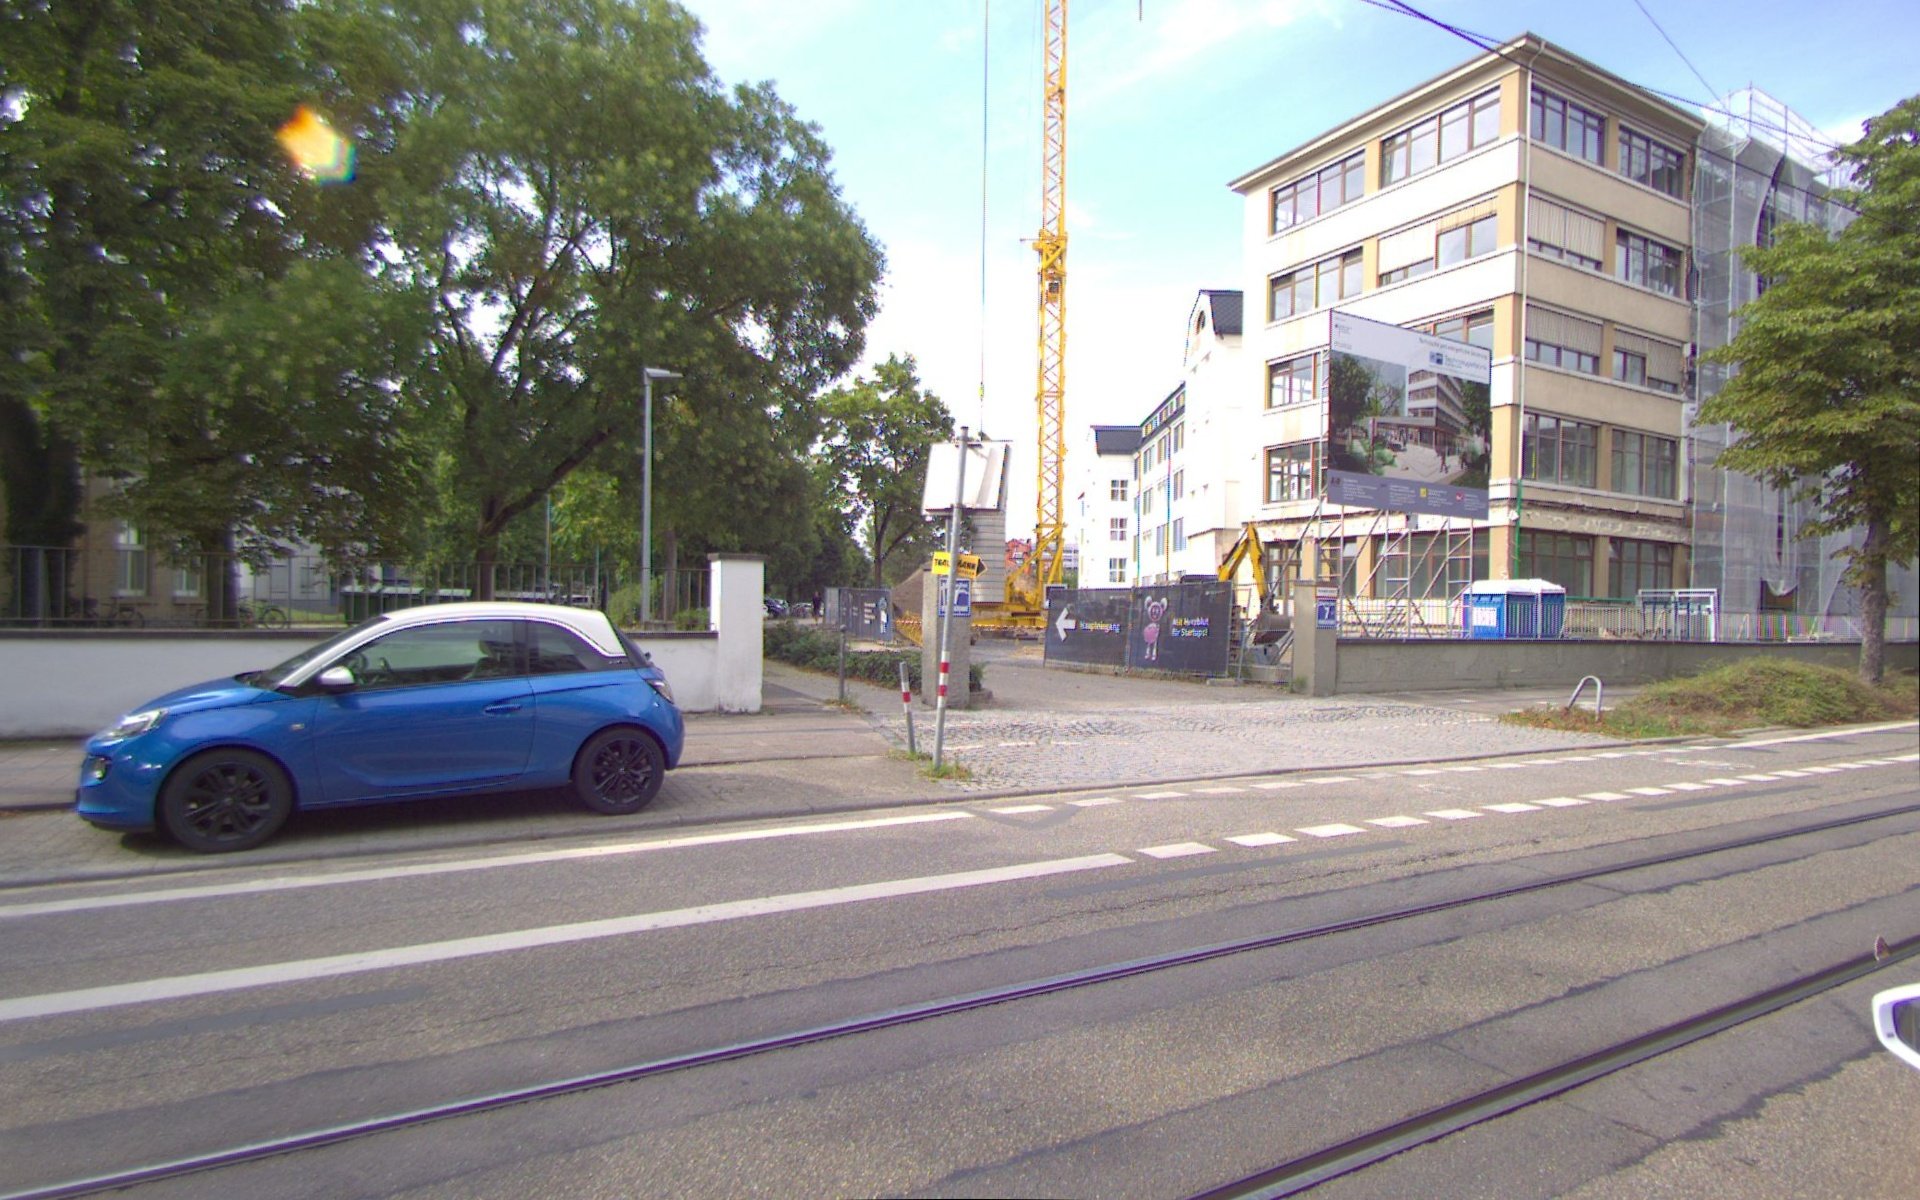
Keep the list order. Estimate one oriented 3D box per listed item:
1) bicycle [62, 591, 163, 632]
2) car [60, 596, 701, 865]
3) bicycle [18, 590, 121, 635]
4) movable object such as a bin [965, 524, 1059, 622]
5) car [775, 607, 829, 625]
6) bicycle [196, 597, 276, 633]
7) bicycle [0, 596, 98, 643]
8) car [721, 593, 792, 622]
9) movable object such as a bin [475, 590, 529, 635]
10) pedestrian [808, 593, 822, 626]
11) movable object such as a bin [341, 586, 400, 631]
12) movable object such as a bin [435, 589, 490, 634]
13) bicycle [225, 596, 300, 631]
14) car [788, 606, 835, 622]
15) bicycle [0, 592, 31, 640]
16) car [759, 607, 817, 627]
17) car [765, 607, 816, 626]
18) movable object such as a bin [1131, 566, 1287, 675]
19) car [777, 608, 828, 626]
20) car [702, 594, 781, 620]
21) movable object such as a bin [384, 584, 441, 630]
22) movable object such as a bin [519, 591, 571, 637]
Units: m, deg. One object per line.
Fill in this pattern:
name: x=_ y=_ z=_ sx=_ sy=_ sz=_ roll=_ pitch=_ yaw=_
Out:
bicycle: x=-22.535 y=0.315 z=26.762 sx=1.953 sy=1.057 sz=0.590 roll=1 pitch=1 yaw=-28
car: x=-3.847 y=0.758 z=7.185 sx=3.560 sy=1.484 sz=1.620 roll=1 pitch=0 yaw=-30
bicycle: x=-22.136 y=0.317 z=24.979 sx=1.940 sy=1.057 sz=0.594 roll=2 pitch=1 yaw=-4
movable object such as a bin: x=4.122 y=-1.846 z=74.908 sx=3.781 sy=6.758 sz=10.988 roll=2 pitch=0 yaw=20
car: x=-14.427 y=1.490 z=91.868 sx=4.719 sy=1.508 sz=1.998 roll=2 pitch=0 yaw=-8
bicycle: x=-22.265 y=0.455 z=30.897 sx=1.940 sy=1.057 sz=0.594 roll=2 pitch=1 yaw=-4
bicycle: x=-22.051 y=0.463 z=24.198 sx=1.940 sy=1.057 sz=0.594 roll=2 pitch=1 yaw=-4
car: x=-15.314 y=0.577 z=75.783 sx=4.965 sy=1.979 sz=1.999 roll=2 pitch=0 yaw=-4
movable object such as a bin: x=-15.282 y=0.419 z=33.525 sx=1.259 sy=1.449 sz=1.122 roll=2 pitch=0 yaw=-2
pedestrian: x=-8.004 y=0.537 z=55.480 sx=0.736 sy=1.813 sz=0.730 roll=2 pitch=0 yaw=-7
movable object such as a bin: x=-19.556 y=0.285 z=33.340 sx=1.259 sy=1.449 sz=1.122 roll=2 pitch=0 yaw=-2
movable object such as a bin: x=-16.621 y=0.378 z=33.600 sx=1.259 sy=1.449 sz=1.122 roll=2 pitch=0 yaw=-2
bicycle: x=-22.381 y=0.443 z=32.252 sx=1.940 sy=1.057 sz=0.594 roll=2 pitch=1 yaw=-4
car: x=-15.605 y=1.488 z=105.767 sx=4.719 sy=1.508 sz=1.998 roll=2 pitch=0 yaw=-8
bicycle: x=-22.110 y=0.339 z=22.497 sx=1.940 sy=1.057 sz=0.594 roll=2 pitch=1 yaw=-4
car: x=-14.661 y=1.452 z=85.882 sx=4.719 sy=1.508 sz=1.998 roll=2 pitch=0 yaw=-8
car: x=-14.904 y=1.482 z=88.547 sx=4.268 sy=1.564 sz=1.751 roll=2 pitch=0 yaw=-8
movable object such as a bin: x=6.091 y=0.493 z=24.857 sx=2.459 sy=2.475 sz=3.048 roll=2 pitch=0 yaw=-19
car: x=-14.810 y=1.594 z=94.693 sx=4.719 sy=1.508 sz=1.998 roll=2 pitch=0 yaw=-8
car: x=-13.976 y=0.456 z=64.490 sx=4.719 sy=1.508 sz=1.998 roll=2 pitch=0 yaw=-8
movable object such as a bin: x=-18.193 y=0.237 z=33.403 sx=1.259 sy=1.449 sz=1.122 roll=2 pitch=0 yaw=-2
movable object such as a bin: x=-13.764 y=0.455 z=33.359 sx=1.259 sy=1.449 sz=1.122 roll=2 pitch=0 yaw=-2
